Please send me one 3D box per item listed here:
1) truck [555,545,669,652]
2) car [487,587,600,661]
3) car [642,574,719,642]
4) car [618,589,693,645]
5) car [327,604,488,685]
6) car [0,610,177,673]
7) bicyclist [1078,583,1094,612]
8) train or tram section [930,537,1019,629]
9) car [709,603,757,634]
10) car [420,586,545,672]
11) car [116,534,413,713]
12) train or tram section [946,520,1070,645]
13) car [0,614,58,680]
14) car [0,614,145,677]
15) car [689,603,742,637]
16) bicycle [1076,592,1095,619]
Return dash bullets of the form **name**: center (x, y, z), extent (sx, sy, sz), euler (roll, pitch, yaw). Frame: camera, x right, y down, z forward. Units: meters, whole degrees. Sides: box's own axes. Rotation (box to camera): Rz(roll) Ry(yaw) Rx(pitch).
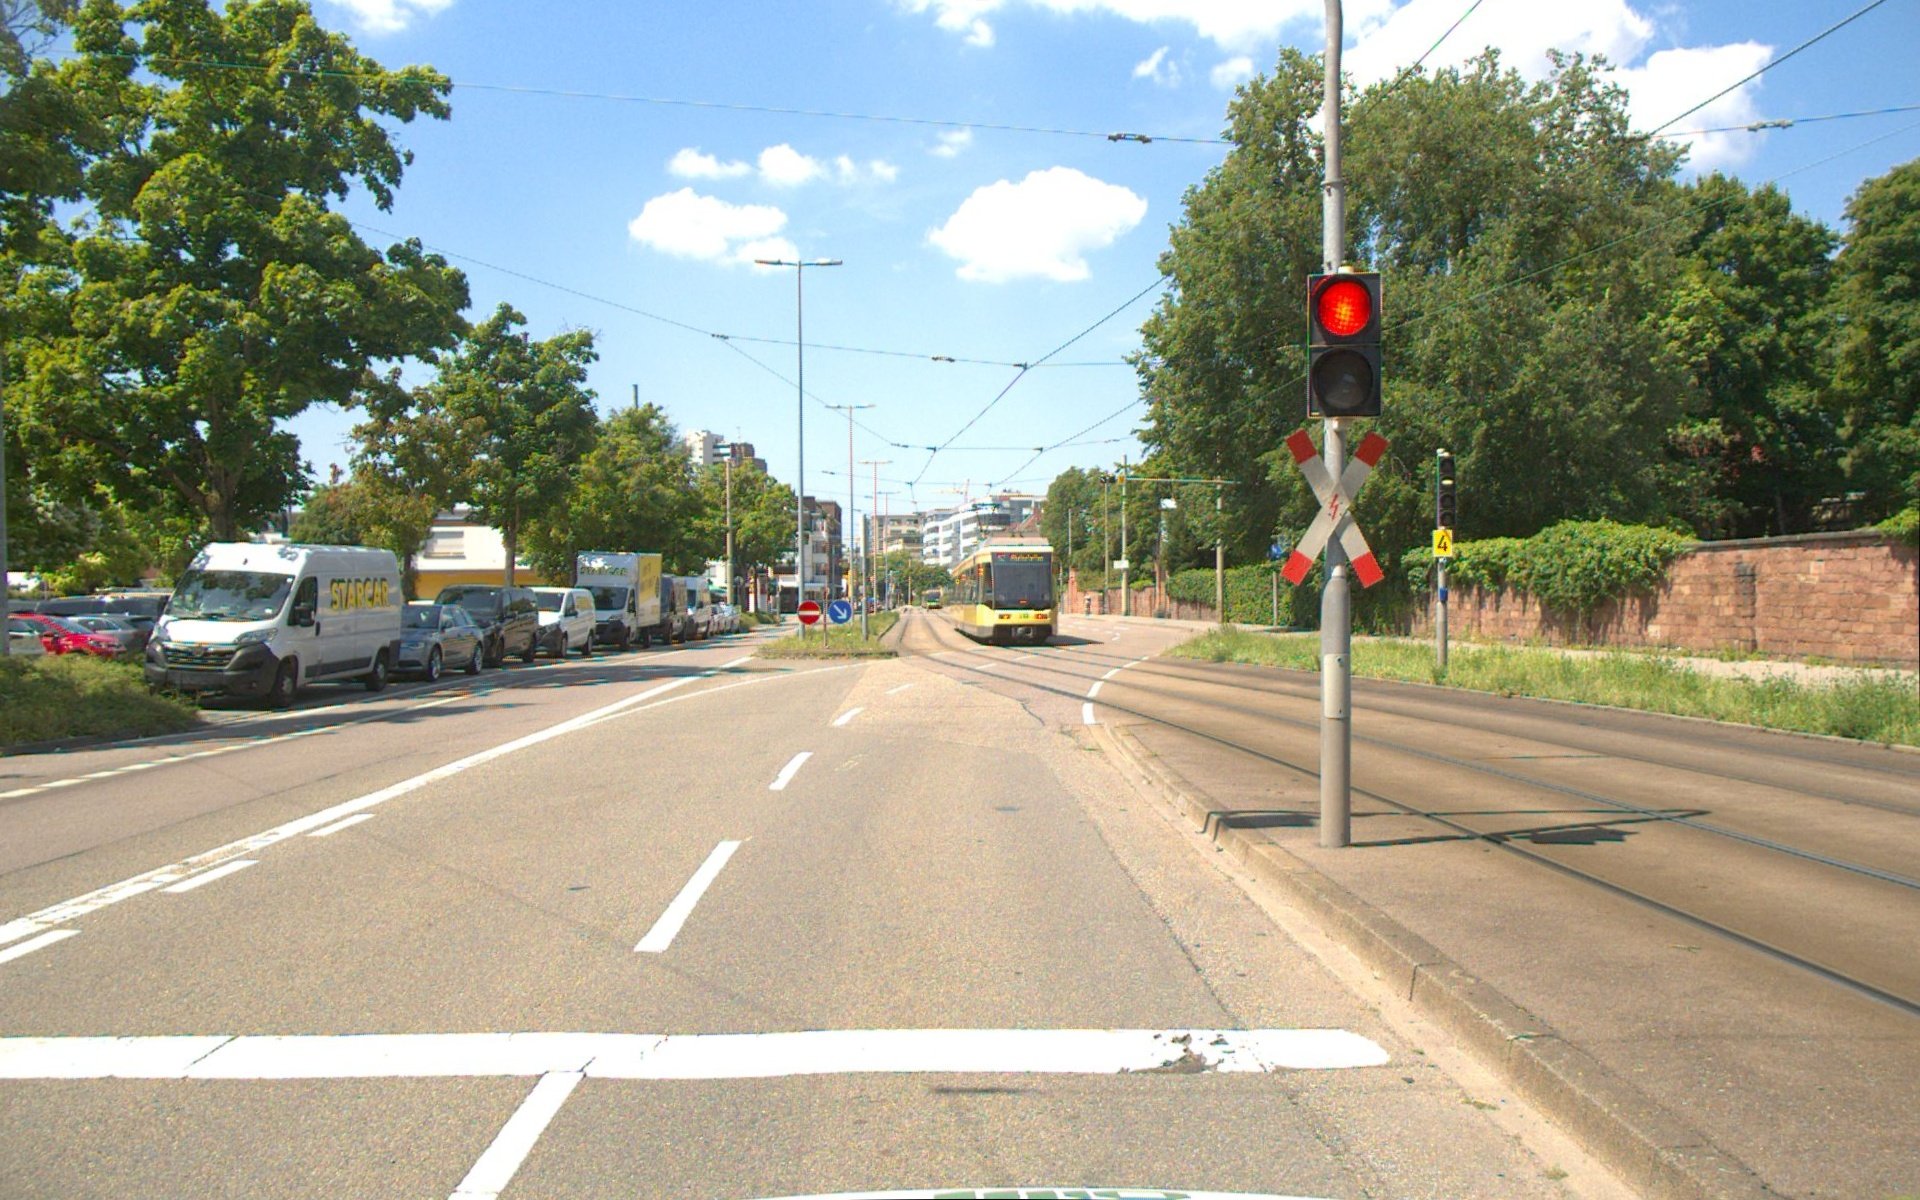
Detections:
- **truck**: center (-11.520, -0.070, 55.354), extent (2.112, 3.266, 7.083), euler (2, 0, 1)
- **car**: center (-11.679, 0.639, 46.734), extent (2.019, 1.931, 4.870), euler (-1, 0, -1)
- **car**: center (-11.790, 0.316, 70.125), extent (2.112, 2.685, 5.612), euler (2, 0, 1)
- **car**: center (-11.513, 0.620, 62.860), extent (2.019, 2.011, 4.870), euler (-1, 0, -1)
- **car**: center (-11.070, 0.843, 33.443), extent (1.831, 1.462, 4.342), euler (-1, 0, -1)
- **car**: center (-21.946, 1.022, 41.288), extent (3.907, 1.467, 1.804), euler (-1, 0, -2)
- **bicyclist**: center (9.209, -0.181, 120.683), extent (1.074, 2.145, 1.031), euler (0, -1, -1)
- **train or tram section**: center (0.425, -0.754, 78.043), extent (2.885, 3.756, 20.271), euler (0, 0, -3)
- **car**: center (-12.536, 1.015, 91.588), extent (2.019, 1.609, 4.870), euler (-1, 0, -1)
- **car**: center (-11.495, 0.661, 40.125), extent (1.831, 1.928, 4.270), euler (-1, 0, -1)
- **car**: center (-11.156, 0.325, 27.207), extent (2.112, 2.530, 6.193), euler (2, 0, 1)
- **train or tram section**: center (1.371, -0.587, 58.860), extent (2.885, 3.756, 18.377), euler (0, 0, -3)
- **car**: center (-22.177, 1.046, 36.135), extent (3.907, 1.362, 1.804), euler (-1, 0, -3)
- **car**: center (-21.510, 1.068, 38.753), extent (3.907, 1.362, 1.804), euler (-1, 0, -3)
- **car**: center (-12.407, 0.980, 84.179), extent (2.019, 1.609, 4.870), euler (-1, 0, -1)
- **bicycle**: center (9.154, 0.386, 120.769), extent (1.070, 1.941, 3.681), euler (-1, 0, -1)
